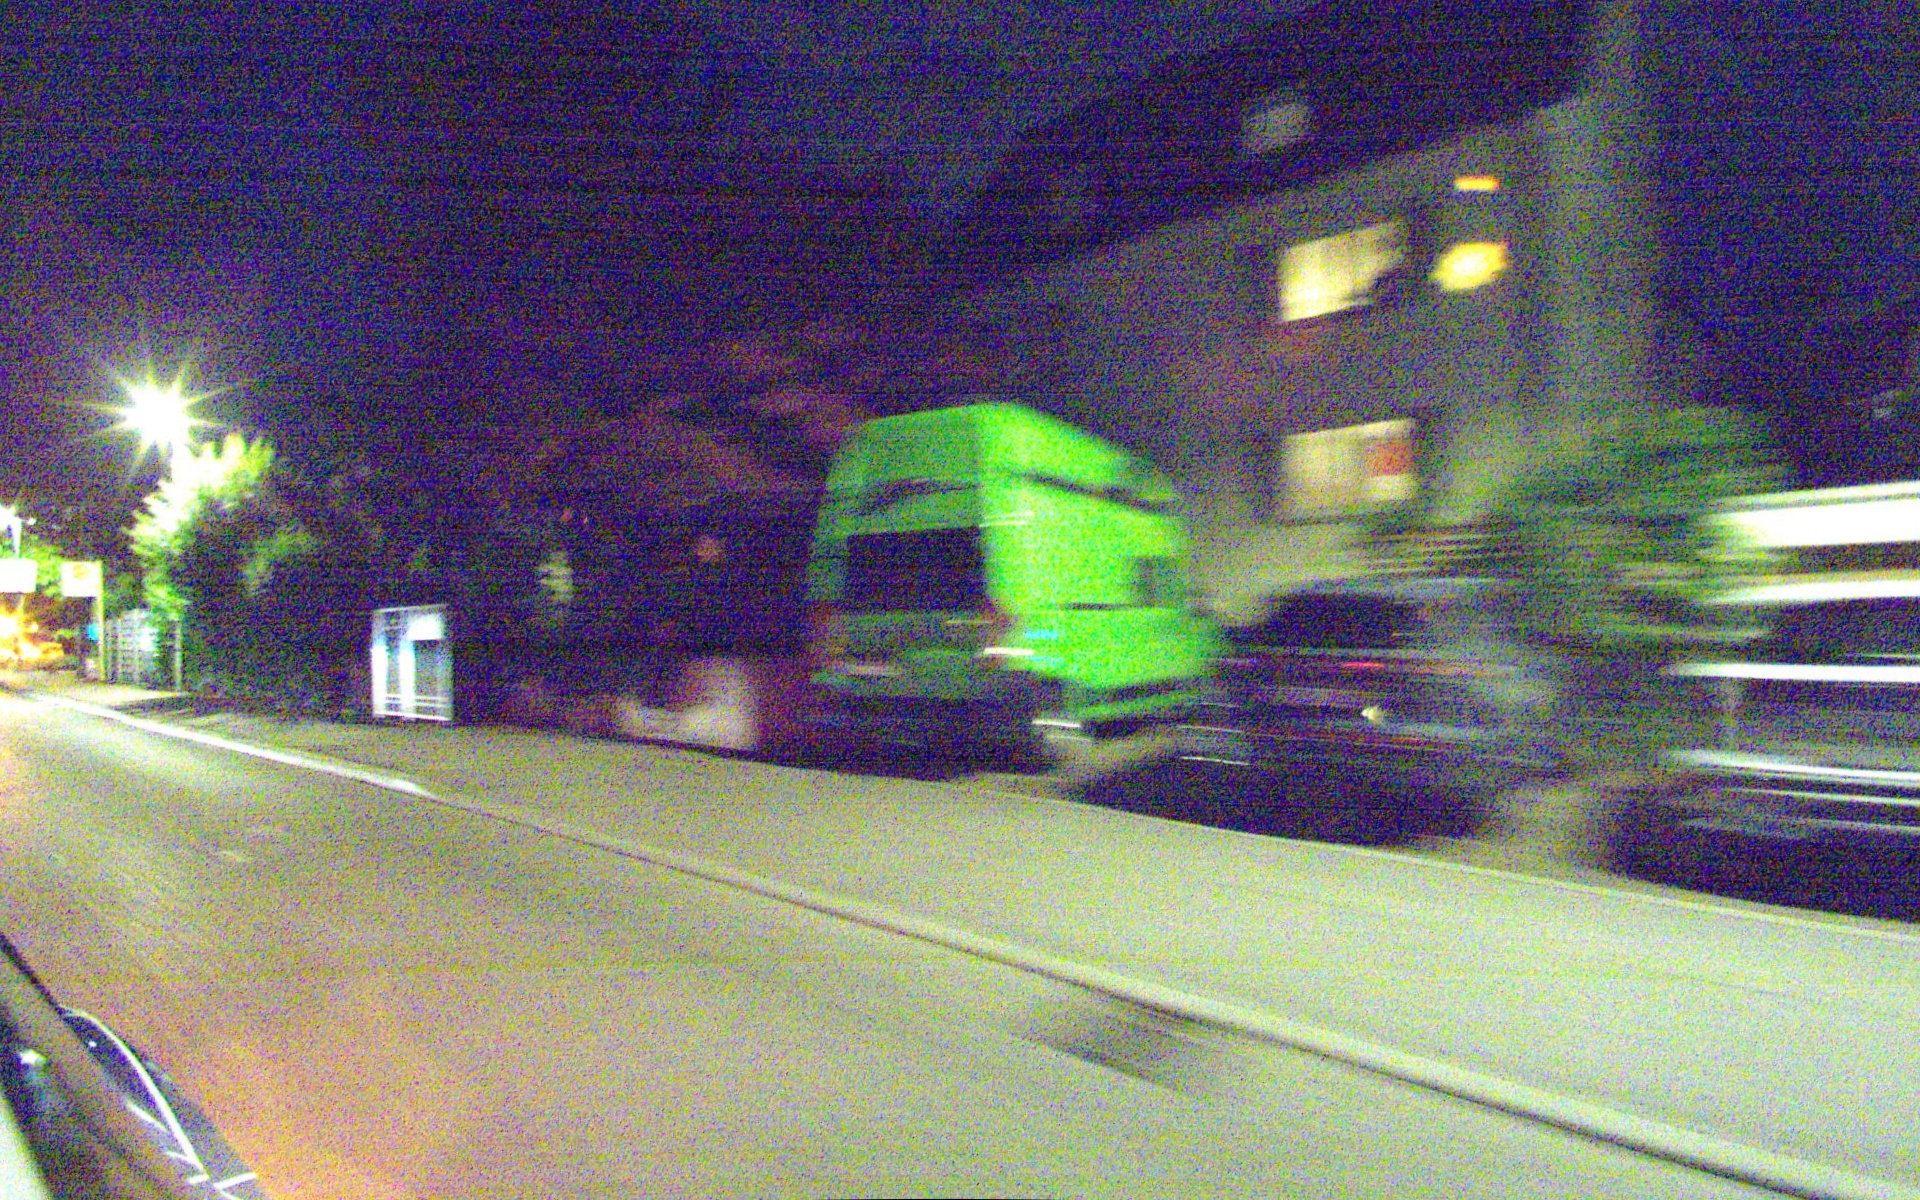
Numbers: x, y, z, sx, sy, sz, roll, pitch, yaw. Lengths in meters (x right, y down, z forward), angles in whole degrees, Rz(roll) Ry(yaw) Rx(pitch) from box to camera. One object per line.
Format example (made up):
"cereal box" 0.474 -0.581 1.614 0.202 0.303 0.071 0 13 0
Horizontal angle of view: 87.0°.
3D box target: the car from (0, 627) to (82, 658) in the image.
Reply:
"car" -50.246 2.282 55.178 1.703 1.440 4.300 0 1 -12

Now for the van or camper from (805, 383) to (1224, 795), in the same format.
"van or camper" 0.928 -0.052 10.568 2.125 3.134 5.359 0 -1 31

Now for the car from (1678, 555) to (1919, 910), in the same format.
"car" 5.531 0.577 5.827 1.926 1.567 3.772 -2 -2 40

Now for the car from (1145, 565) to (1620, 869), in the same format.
"car" 3.455 0.640 7.746 2.065 1.625 4.370 0 0 42
